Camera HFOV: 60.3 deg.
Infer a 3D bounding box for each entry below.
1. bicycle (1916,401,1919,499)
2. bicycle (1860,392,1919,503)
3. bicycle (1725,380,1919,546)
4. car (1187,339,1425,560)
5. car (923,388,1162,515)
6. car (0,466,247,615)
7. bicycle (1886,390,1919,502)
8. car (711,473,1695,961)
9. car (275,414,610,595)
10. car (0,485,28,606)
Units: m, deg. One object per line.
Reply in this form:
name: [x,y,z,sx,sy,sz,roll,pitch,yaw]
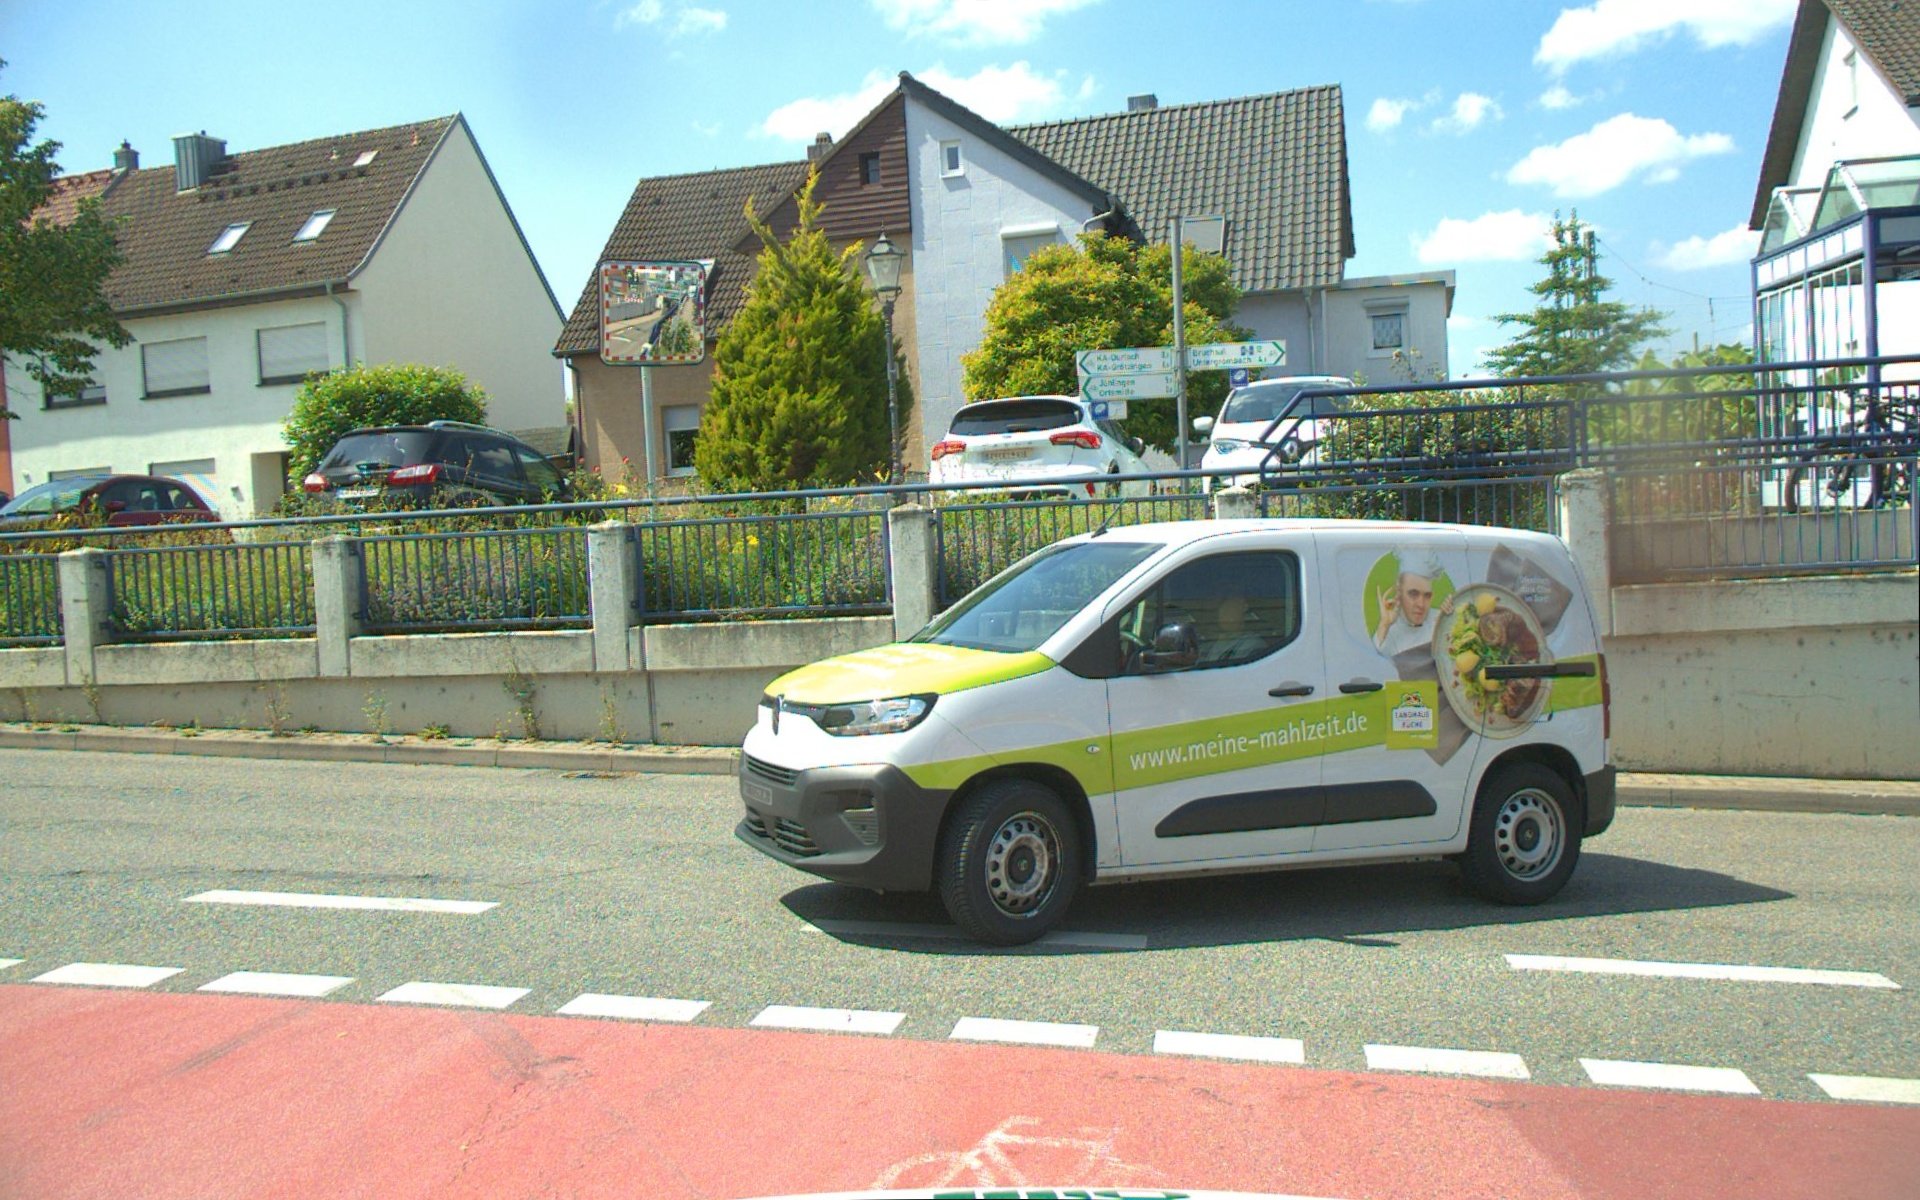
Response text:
bicycle: [9.867,-1.505,16.271,0.365,1.012,1.967,-1,3,17]
bicycle: [9.175,-1.474,16.248,0.446,1.012,1.887,-1,3,25]
bicycle: [6.777,-1.016,12.154,2.070,1.145,0.333,-2,2,8]
car: [3.438,-1.337,16.166,1.951,1.828,4.200,1,1,14]
car: [0.945,-1.448,16.810,1.786,1.037,3.462,1,1,14]
car: [-10.536,-0.697,19.820,1.827,1.614,3.613,1,1,14]
bicycle: [8.814,-1.385,14.636,0.325,1.012,2.078,-2,3,8]
car: [1.200,0.444,8.103,4.483,1.887,1.805,1,2,-23]
car: [-5.731,-1.021,18.885,1.827,1.828,4.004,1,1,14]
car: [-14.061,-0.726,21.071,1.827,1.614,3.613,1,1,14]
